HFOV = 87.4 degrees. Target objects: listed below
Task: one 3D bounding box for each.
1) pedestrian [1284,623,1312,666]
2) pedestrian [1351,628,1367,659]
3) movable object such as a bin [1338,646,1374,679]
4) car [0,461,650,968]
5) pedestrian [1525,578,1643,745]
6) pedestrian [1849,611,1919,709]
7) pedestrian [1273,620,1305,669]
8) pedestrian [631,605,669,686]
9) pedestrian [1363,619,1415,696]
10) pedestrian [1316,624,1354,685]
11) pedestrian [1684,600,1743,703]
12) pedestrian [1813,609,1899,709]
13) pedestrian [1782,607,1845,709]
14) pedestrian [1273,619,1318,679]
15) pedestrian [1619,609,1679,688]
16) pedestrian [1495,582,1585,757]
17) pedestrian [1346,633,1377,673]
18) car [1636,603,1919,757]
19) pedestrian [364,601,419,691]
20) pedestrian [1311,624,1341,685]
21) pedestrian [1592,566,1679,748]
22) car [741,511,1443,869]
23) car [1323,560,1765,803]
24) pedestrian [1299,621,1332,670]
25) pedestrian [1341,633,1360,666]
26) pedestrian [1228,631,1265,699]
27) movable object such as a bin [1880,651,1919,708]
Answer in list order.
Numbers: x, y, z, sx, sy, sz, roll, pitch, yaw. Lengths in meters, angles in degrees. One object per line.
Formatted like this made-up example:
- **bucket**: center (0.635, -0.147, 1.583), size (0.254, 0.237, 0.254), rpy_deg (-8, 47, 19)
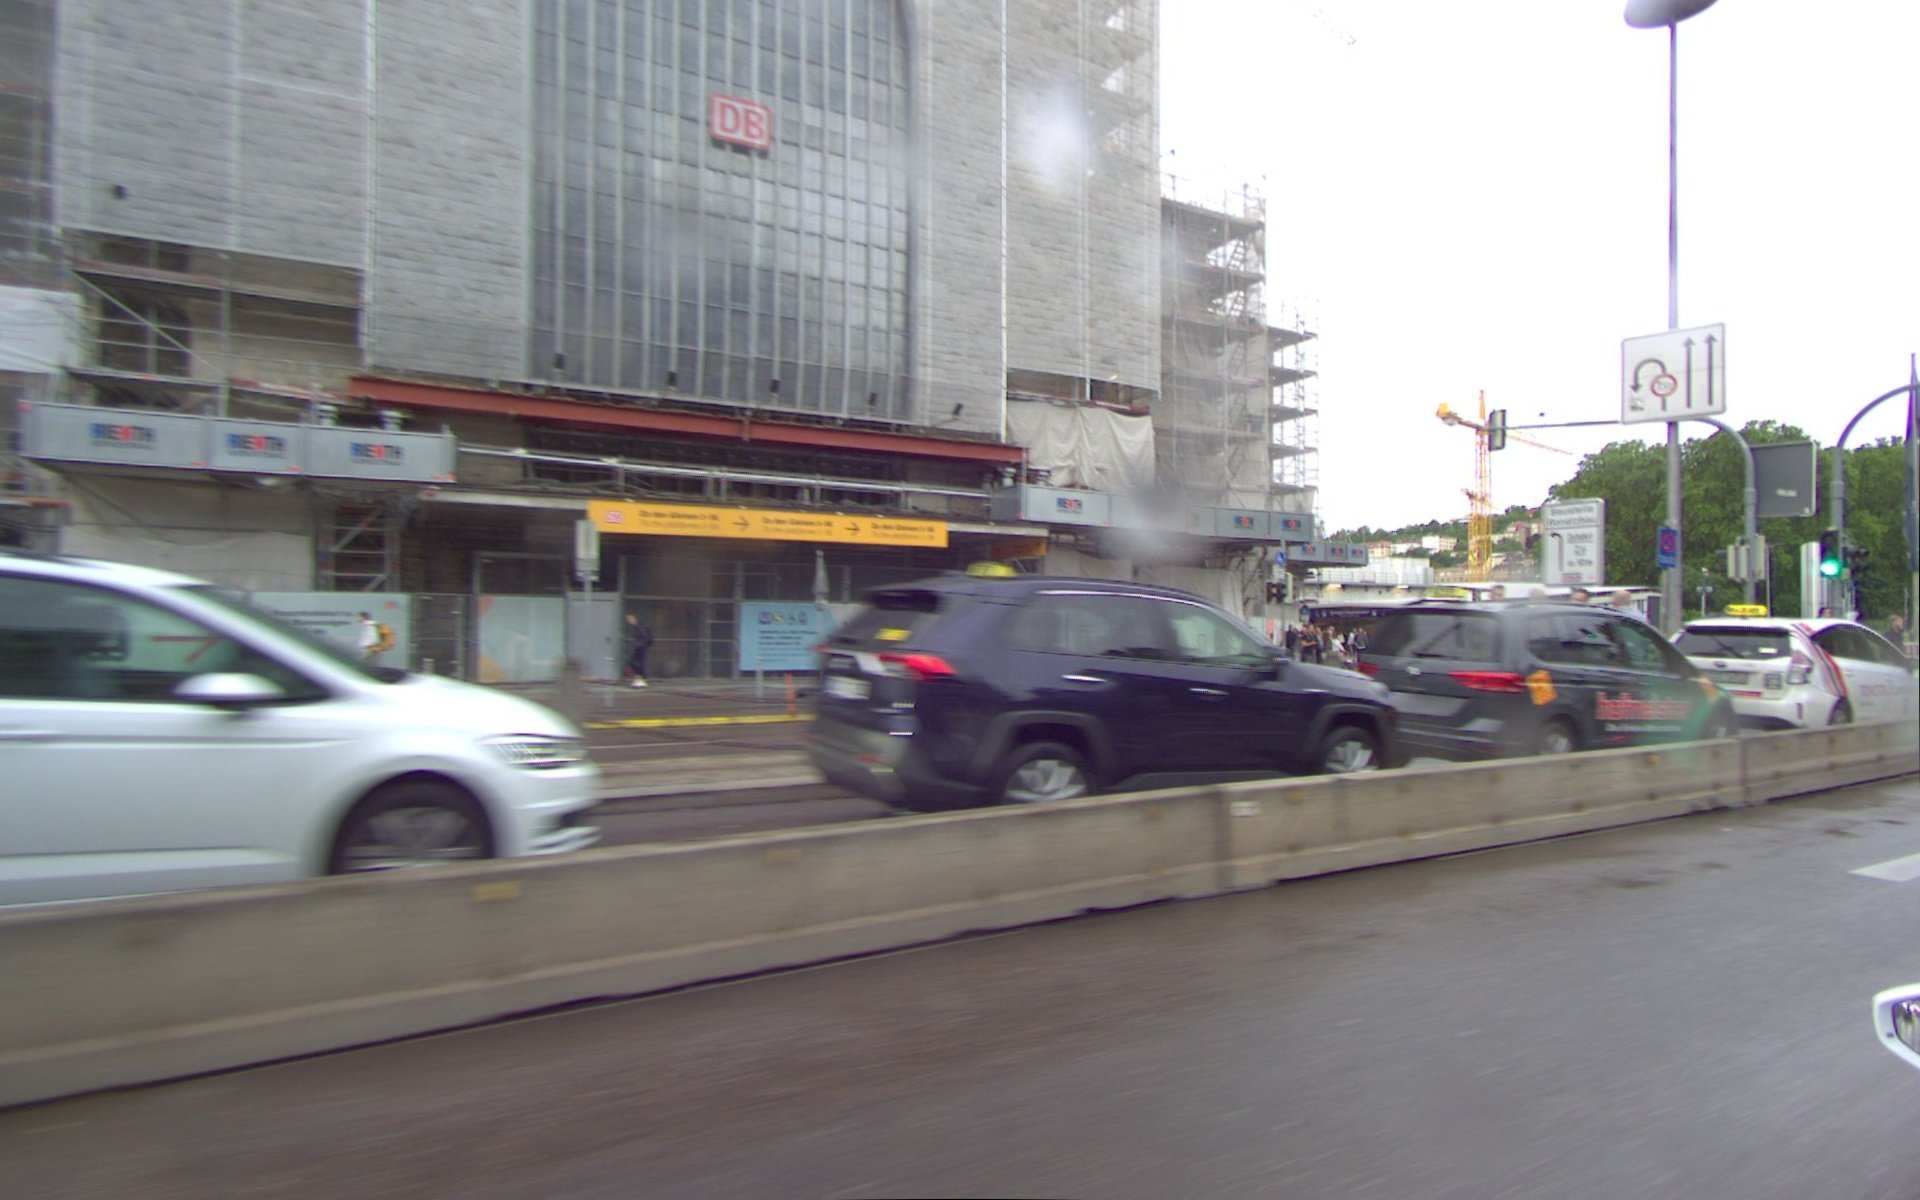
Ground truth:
- **pedestrian**: center (15.421, 2.020, 45.827), size (1.010, 1.906, 0.834), rpy_deg (0, -3, 33)
- **pedestrian**: center (24.727, 2.711, 62.323), size (0.780, 1.906, 0.494), rpy_deg (1, -2, 0)
- **movable object such as a bin**: center (12.245, 1.938, 31.092), size (0.713, 0.983, 0.755), rpy_deg (2, -1, -31)
- **car**: center (-3.874, 0.426, 4.483), size (4.404, 1.810, 1.983), rpy_deg (2, -2, -31)
- **pedestrian**: center (7.951, 0.760, 12.840), size (1.007, 2.040, 0.837), rpy_deg (1, -1, 8)
- **pedestrian**: center (18.543, 1.181, 20.047), size (0.670, 1.911, 1.006), rpy_deg (1, -1, -7)
- **pedestrian**: center (13.179, 1.776, 40.256), size (1.007, 1.906, 0.836), rpy_deg (1, -2, 2)
- **pedestrian**: center (-7.293, 1.071, 23.626), size (0.761, 1.865, 0.534), rpy_deg (1, -1, -24)
- **pedestrian**: center (9.639, 1.283, 22.583), size (0.827, 1.686, 0.710), rpy_deg (2, -1, -30)
- **pedestrian**: center (11.832, 1.713, 31.699), size (0.868, 1.865, 0.694), rpy_deg (2, 0, -31)
- **pedestrian**: center (13.187, 0.893, 17.576), size (0.747, 1.758, 0.580), rpy_deg (2, -1, -30)
- **pedestrian**: center (17.798, 1.157, 19.982), size (0.802, 1.911, 1.006), rpy_deg (1, -1, -7)
- **pedestrian**: center (16.533, 1.098, 19.458), size (0.685, 1.911, 0.823), rpy_deg (1, -1, -39)
- **pedestrian**: center (10.735, 1.564, 32.125), size (1.022, 1.865, 0.985), rpy_deg (1, -1, -8)
- **pedestrian**: center (16.891, 1.174, 24.640), size (1.015, 1.906, 0.830), rpy_deg (1, -1, -27)
- **pedestrian**: center (7.044, 0.827, 12.201), size (0.826, 2.040, 0.618), rpy_deg (1, -1, -30)
- **pedestrian**: center (17.401, 2.309, 43.575), size (1.007, 1.685, 0.836), rpy_deg (1, -2, 0)
- **car**: center (10.969, 0.973, 13.070), size (4.611, 1.708, 1.778), rpy_deg (2, -2, -30)
- **pedestrian**: center (-12.063, 0.965, 21.297), size (0.829, 1.865, 0.764), rpy_deg (2, -1, -43)
- **pedestrian**: center (11.350, 1.684, 31.148), size (0.522, 1.865, 0.694), rpy_deg (2, -1, -31)
- **pedestrian**: center (7.888, 0.648, 11.727), size (0.881, 2.040, 0.524), rpy_deg (1, -1, -32)
- **car**: center (1.078, 0.541, 7.184), size (4.791, 1.810, 1.984), rpy_deg (2, -2, -31)
- **car**: center (5.791, 0.721, 9.800), size (4.555, 1.917, 1.706), rpy_deg (2, -2, -30)
- **pedestrian**: center (14.205, 1.814, 40.148), size (1.007, 1.906, 0.836), rpy_deg (1, -2, 1)
- **pedestrian**: center (22.734, 2.884, 58.474), size (0.785, 1.906, 0.662), rpy_deg (1, -2, 0)
- **pedestrian**: center (8.067, 1.817, 28.267), size (0.766, 1.865, 0.635), rpy_deg (2, -1, -30)
- **movable object such as a bin**: center (19.253, 1.595, 20.110), size (0.735, 1.090, 1.006), rpy_deg (1, -1, -7)
